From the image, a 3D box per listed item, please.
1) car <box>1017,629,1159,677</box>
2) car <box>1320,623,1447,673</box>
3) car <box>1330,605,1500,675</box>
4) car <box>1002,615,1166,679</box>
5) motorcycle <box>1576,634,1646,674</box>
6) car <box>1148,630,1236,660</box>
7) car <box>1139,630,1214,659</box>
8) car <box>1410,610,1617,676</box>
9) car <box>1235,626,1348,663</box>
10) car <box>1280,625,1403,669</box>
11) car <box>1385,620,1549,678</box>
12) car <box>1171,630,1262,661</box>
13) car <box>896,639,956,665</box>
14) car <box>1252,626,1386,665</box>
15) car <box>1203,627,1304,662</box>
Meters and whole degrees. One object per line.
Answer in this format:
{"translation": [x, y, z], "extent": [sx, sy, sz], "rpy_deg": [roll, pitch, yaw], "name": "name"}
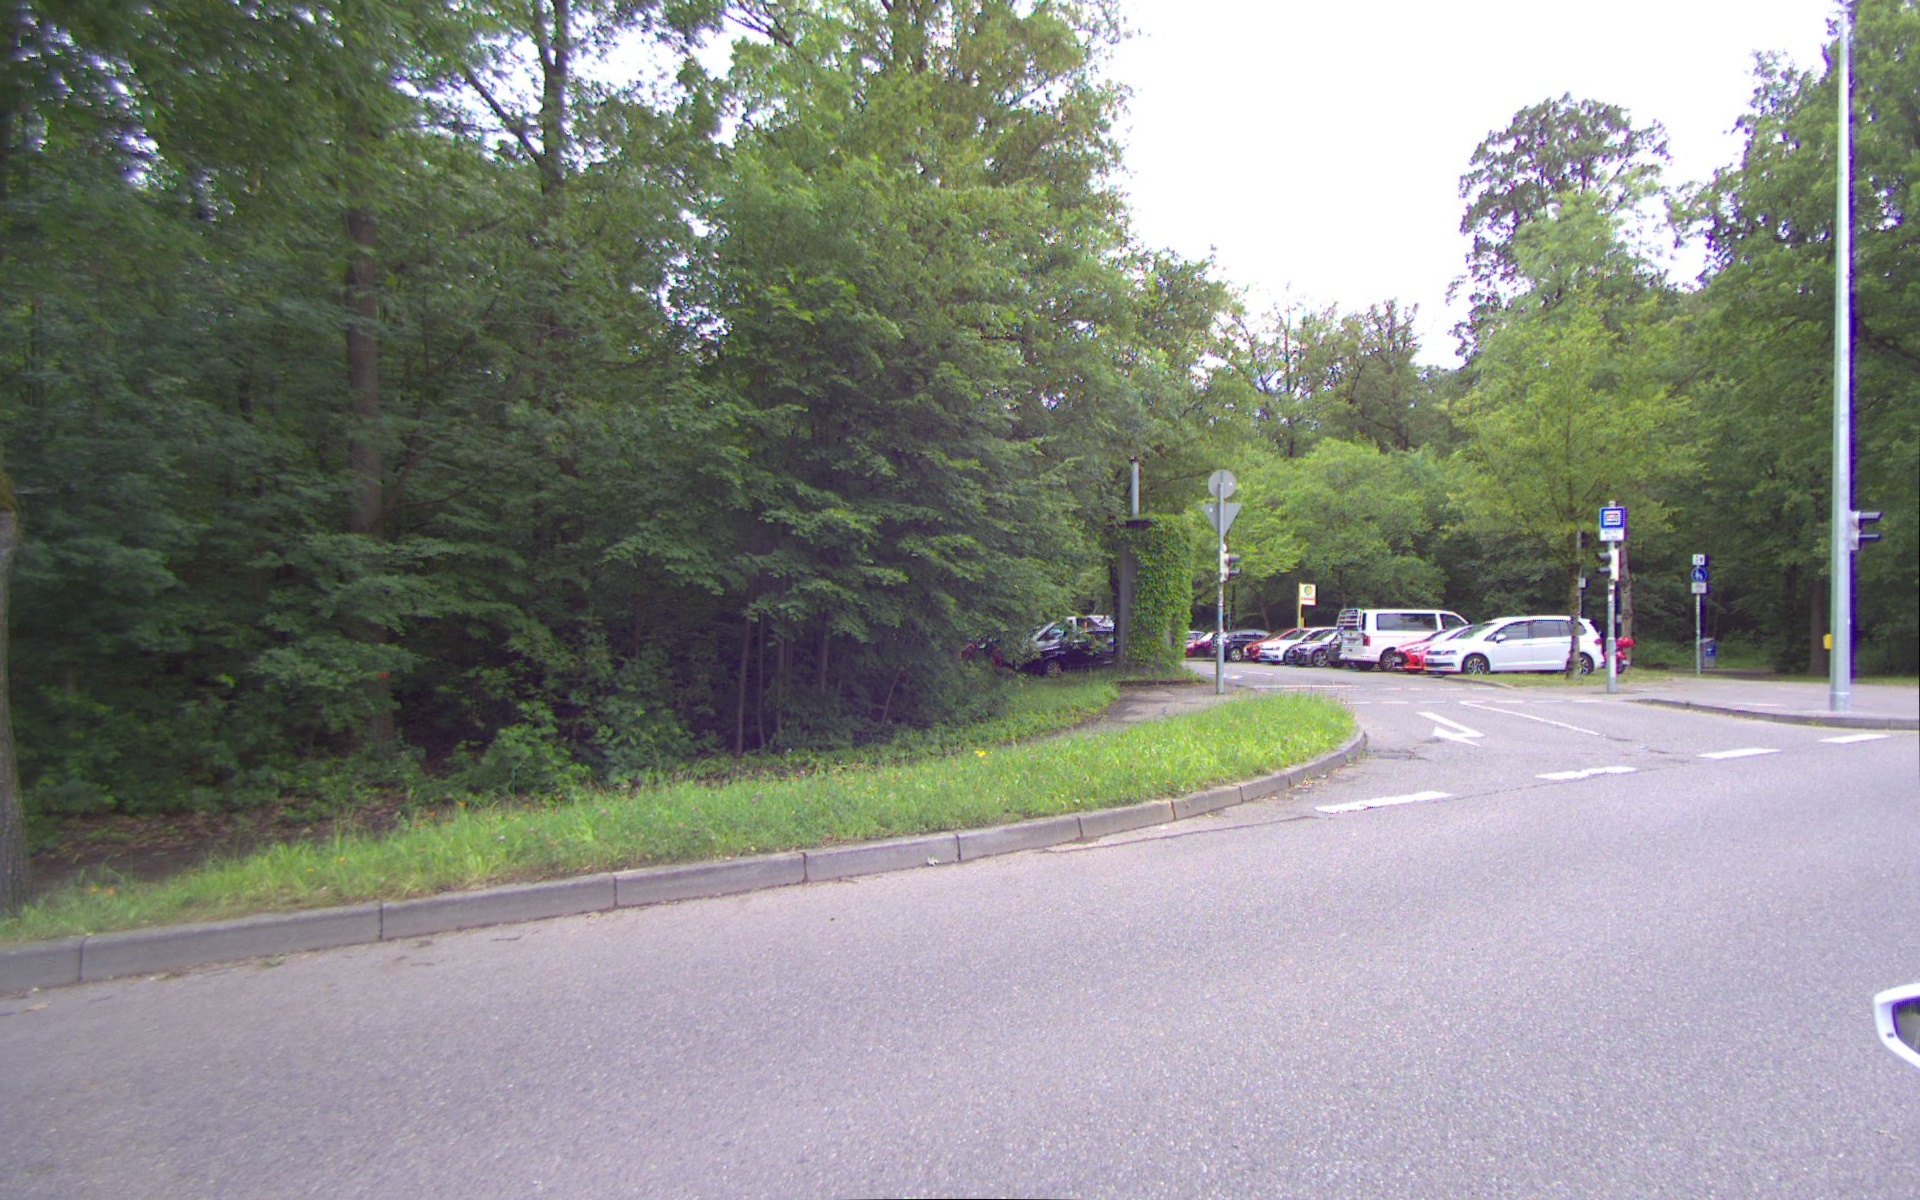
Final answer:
{"translation": [3.758, 1.553, 29.857], "extent": [3.923, 1.397, 1.722], "rpy_deg": [0, -2, -4], "name": "car"}
{"translation": [14.854, 1.661, 35.338], "extent": [3.664, 1.575, 1.844], "rpy_deg": [2, 0, -6], "name": "car"}
{"translation": [14.772, 1.282, 32.744], "extent": [4.575, 2.048, 2.082], "rpy_deg": [2, -1, -4], "name": "car"}
{"translation": [3.976, 1.509, 32.683], "extent": [5.004, 1.940, 1.978], "rpy_deg": [-1, -2, -3], "name": "car"}
{"translation": [20.554, 1.690, 31.751], "extent": [0.665, 1.176, 2.008], "rpy_deg": [0, -1, -10], "name": "motorcycle"}
{"translation": [12.183, 2.380, 52.829], "extent": [4.065, 1.480, 1.862], "rpy_deg": [0, -3, -10], "name": "car"}
{"translation": [11.876, 2.445, 55.191], "extent": [3.648, 1.530, 1.748], "rpy_deg": [0, -3, -12], "name": "car"}
{"translation": [15.022, 1.181, 27.499], "extent": [4.445, 1.715, 2.166], "rpy_deg": [0, -3, 1], "name": "car"}
{"translation": [14.070, 1.886, 42.725], "extent": [4.164, 1.500, 1.917], "rpy_deg": [0, -3, -8], "name": "car"}
{"translation": [14.265, 1.791, 37.657], "extent": [3.925, 1.502, 1.876], "rpy_deg": [2, -3, -6], "name": "car"}
{"translation": [15.052, 1.435, 29.979], "extent": [3.930, 1.576, 1.947], "rpy_deg": [1, -1, 2], "name": "car"}
{"translation": [12.810, 2.267, 50.235], "extent": [3.930, 1.468, 1.937], "rpy_deg": [0, -2, -12], "name": "car"}
{"translation": [-2.361, 3.573, 68.977], "extent": [3.900, 1.649, 1.996], "rpy_deg": [-1, -2, -8], "name": "car"}
{"translation": [14.261, 1.805, 40.031], "extent": [4.696, 1.495, 1.852], "rpy_deg": [0, -2, -5], "name": "car"}
{"translation": [13.179, 2.015, 45.187], "extent": [3.926, 1.502, 1.920], "rpy_deg": [0, -2, -8], "name": "car"}
